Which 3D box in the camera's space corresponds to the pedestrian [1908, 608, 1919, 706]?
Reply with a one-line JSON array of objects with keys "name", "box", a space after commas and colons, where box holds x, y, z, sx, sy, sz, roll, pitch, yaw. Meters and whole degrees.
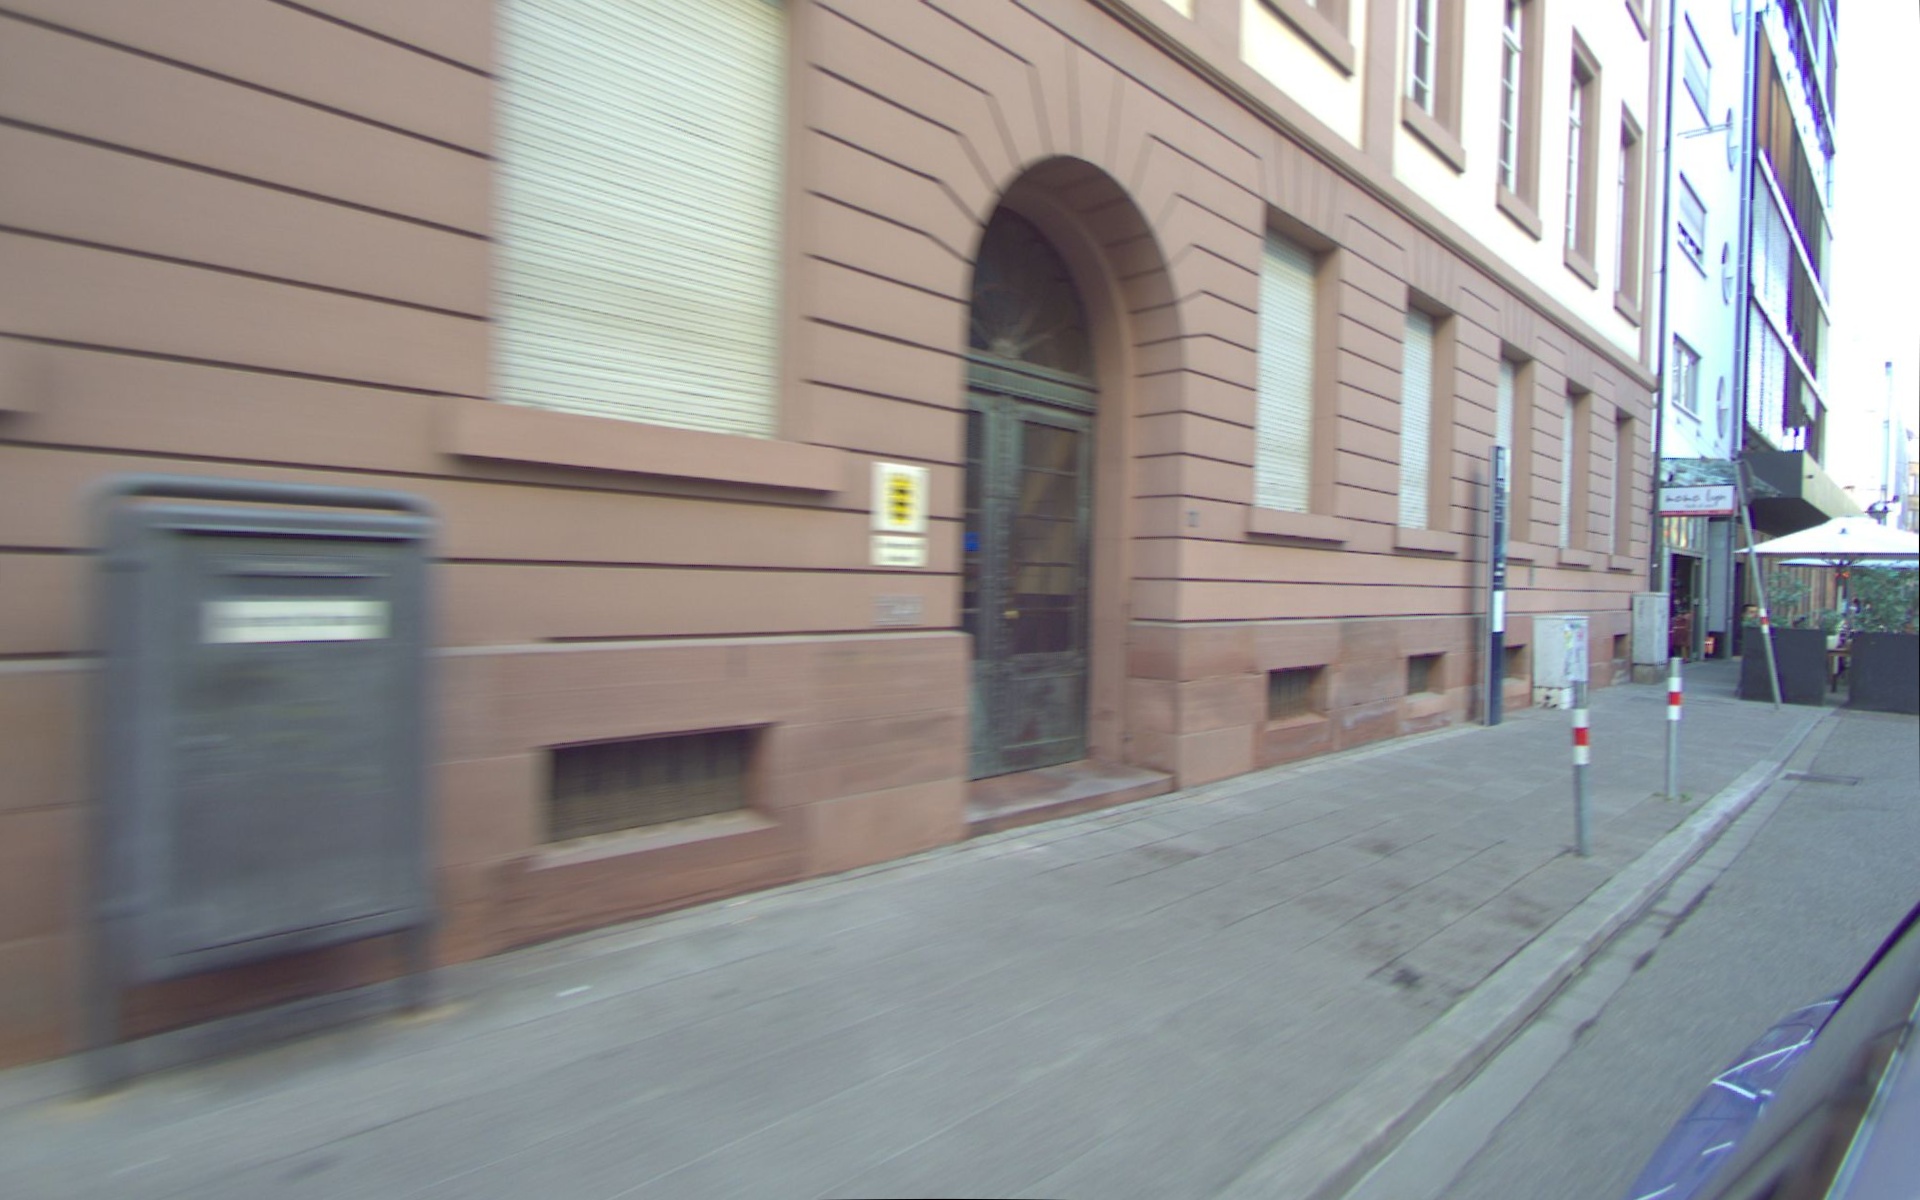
[{"name": "pedestrian", "box": [12.368, 0.728, 12.855, 0.398, 1.229, 0.378, 2, 1, 36]}]

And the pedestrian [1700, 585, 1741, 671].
[{"name": "pedestrian", "box": [16.261, 0.581, 21.632, 0.638, 1.794, 0.593, 2, 1, 40]}]

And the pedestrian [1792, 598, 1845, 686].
[{"name": "pedestrian", "box": [14.607, 0.696, 17.224, 0.854, 1.437, 0.574, 0, 1, -44]}]

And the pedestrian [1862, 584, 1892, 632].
[{"name": "pedestrian", "box": [36.709, 0.320, 40.519, 0.664, 1.859, 0.802, 0, 1, -43]}]

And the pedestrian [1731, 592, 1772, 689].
[{"name": "pedestrian", "box": [11.117, 0.555, 14.216, 0.360, 1.322, 0.490, 2, 1, 31]}]

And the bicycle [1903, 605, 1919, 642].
[{"name": "bicycle", "box": [31.622, 0.792, 32.407, 2.034, 1.182, 0.609, 2, 2, 45]}]

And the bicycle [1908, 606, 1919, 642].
[{"name": "bicycle", "box": [32.434, 0.813, 33.127, 2.034, 1.182, 0.609, 2, 2, 45]}]

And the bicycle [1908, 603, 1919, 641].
[{"name": "bicycle", "box": [30.975, 0.710, 31.550, 2.034, 1.182, 0.609, 2, 1, 45]}]

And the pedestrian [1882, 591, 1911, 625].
[{"name": "pedestrian", "box": [45.803, 0.376, 49.491, 0.623, 1.641, 0.784, 1, 2, -4]}]
